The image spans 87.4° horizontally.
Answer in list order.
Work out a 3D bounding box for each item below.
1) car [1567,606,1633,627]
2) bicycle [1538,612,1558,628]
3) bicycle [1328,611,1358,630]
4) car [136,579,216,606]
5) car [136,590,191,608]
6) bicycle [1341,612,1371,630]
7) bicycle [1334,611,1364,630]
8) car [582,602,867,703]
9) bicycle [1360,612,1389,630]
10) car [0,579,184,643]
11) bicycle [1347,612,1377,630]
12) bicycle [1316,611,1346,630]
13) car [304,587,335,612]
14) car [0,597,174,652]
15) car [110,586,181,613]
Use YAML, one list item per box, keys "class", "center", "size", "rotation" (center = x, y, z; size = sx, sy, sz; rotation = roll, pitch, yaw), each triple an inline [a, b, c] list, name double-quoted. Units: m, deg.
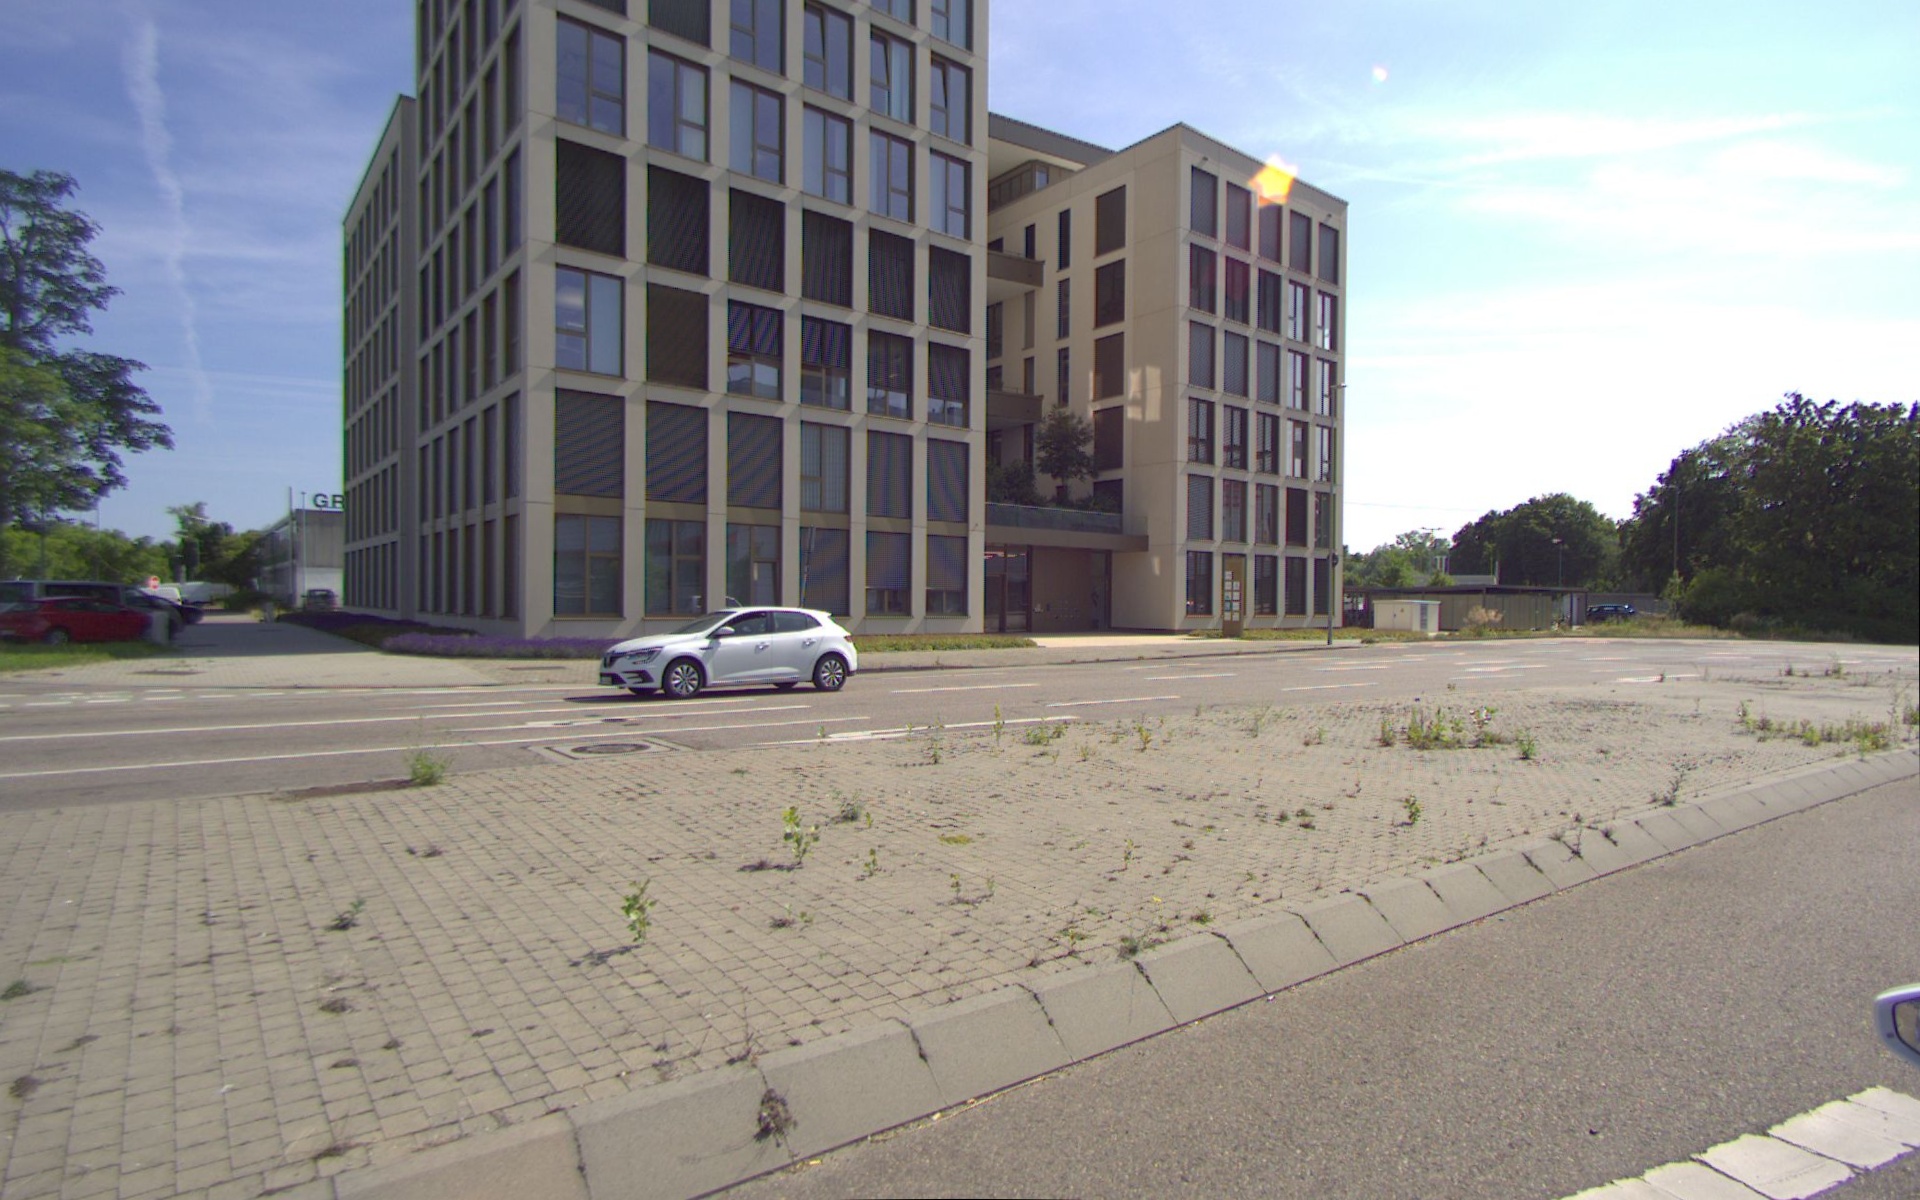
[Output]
- class: "car"
  center: [46.931, 1.217, 73.730]
  size: [4.042, 1.439, 1.724]
  rotation: [1, -1, 33]
- class: "bicycle"
  center: [41.650, 1.395, 71.115]
  size: [1.691, 1.106, 0.583]
  rotation: [1, 0, -35]
- class: "bicycle"
  center: [23.704, 1.284, 62.178]
  size: [0.583, 1.106, 1.690]
  rotation: [0, 1, -36]
- class: "car"
  center: [-74.944, -0.698, 96.171]
  size: [5.846, 2.464, 2.353]
  rotation: [1, 0, -35]
- class: "car"
  center: [-70.501, -0.066, 88.965]
  size: [3.836, 1.493, 1.790]
  rotation: [1, 0, -39]
- class: "bicycle"
  center: [24.841, 1.300, 63.055]
  size: [0.583, 1.106, 1.690]
  rotation: [0, 1, -36]
- class: "bicycle"
  center: [24.209, 1.287, 62.565]
  size: [0.583, 1.106, 1.690]
  rotation: [0, 1, -36]
- class: "car"
  center: [-3.827, 0.794, 16.693]
  size: [4.295, 1.480, 1.768]
  rotation: [0, -1, -39]
- class: "bicycle"
  center: [26.603, 1.332, 64.471]
  size: [0.583, 1.106, 1.690]
  rotation: [0, 1, -36]
- class: "car"
  center: [-27.403, 0.310, 31.563]
  size: [1.859, 1.846, 4.816]
  rotation: [0, 0, 8]
- class: "bicycle"
  center: [25.394, 1.316, 63.462]
  size: [0.583, 1.106, 1.690]
  rotation: [0, 1, -36]
- class: "bicycle"
  center: [22.771, 1.258, 61.700]
  size: [0.583, 1.106, 1.690]
  rotation: [0, 1, -36]
- class: "car"
  center: [-46.109, -0.064, 72.308]
  size: [1.732, 1.706, 3.961]
  rotation: [1, 0, -35]
- class: "car"
  center: [-25.117, 0.644, 28.726]
  size: [1.771, 1.434, 4.032]
  rotation: [0, 0, 10]
- class: "car"
  center: [-62.650, -0.016, 77.372]
  size: [4.202, 1.966, 1.879]
  rotation: [1, 0, -39]
